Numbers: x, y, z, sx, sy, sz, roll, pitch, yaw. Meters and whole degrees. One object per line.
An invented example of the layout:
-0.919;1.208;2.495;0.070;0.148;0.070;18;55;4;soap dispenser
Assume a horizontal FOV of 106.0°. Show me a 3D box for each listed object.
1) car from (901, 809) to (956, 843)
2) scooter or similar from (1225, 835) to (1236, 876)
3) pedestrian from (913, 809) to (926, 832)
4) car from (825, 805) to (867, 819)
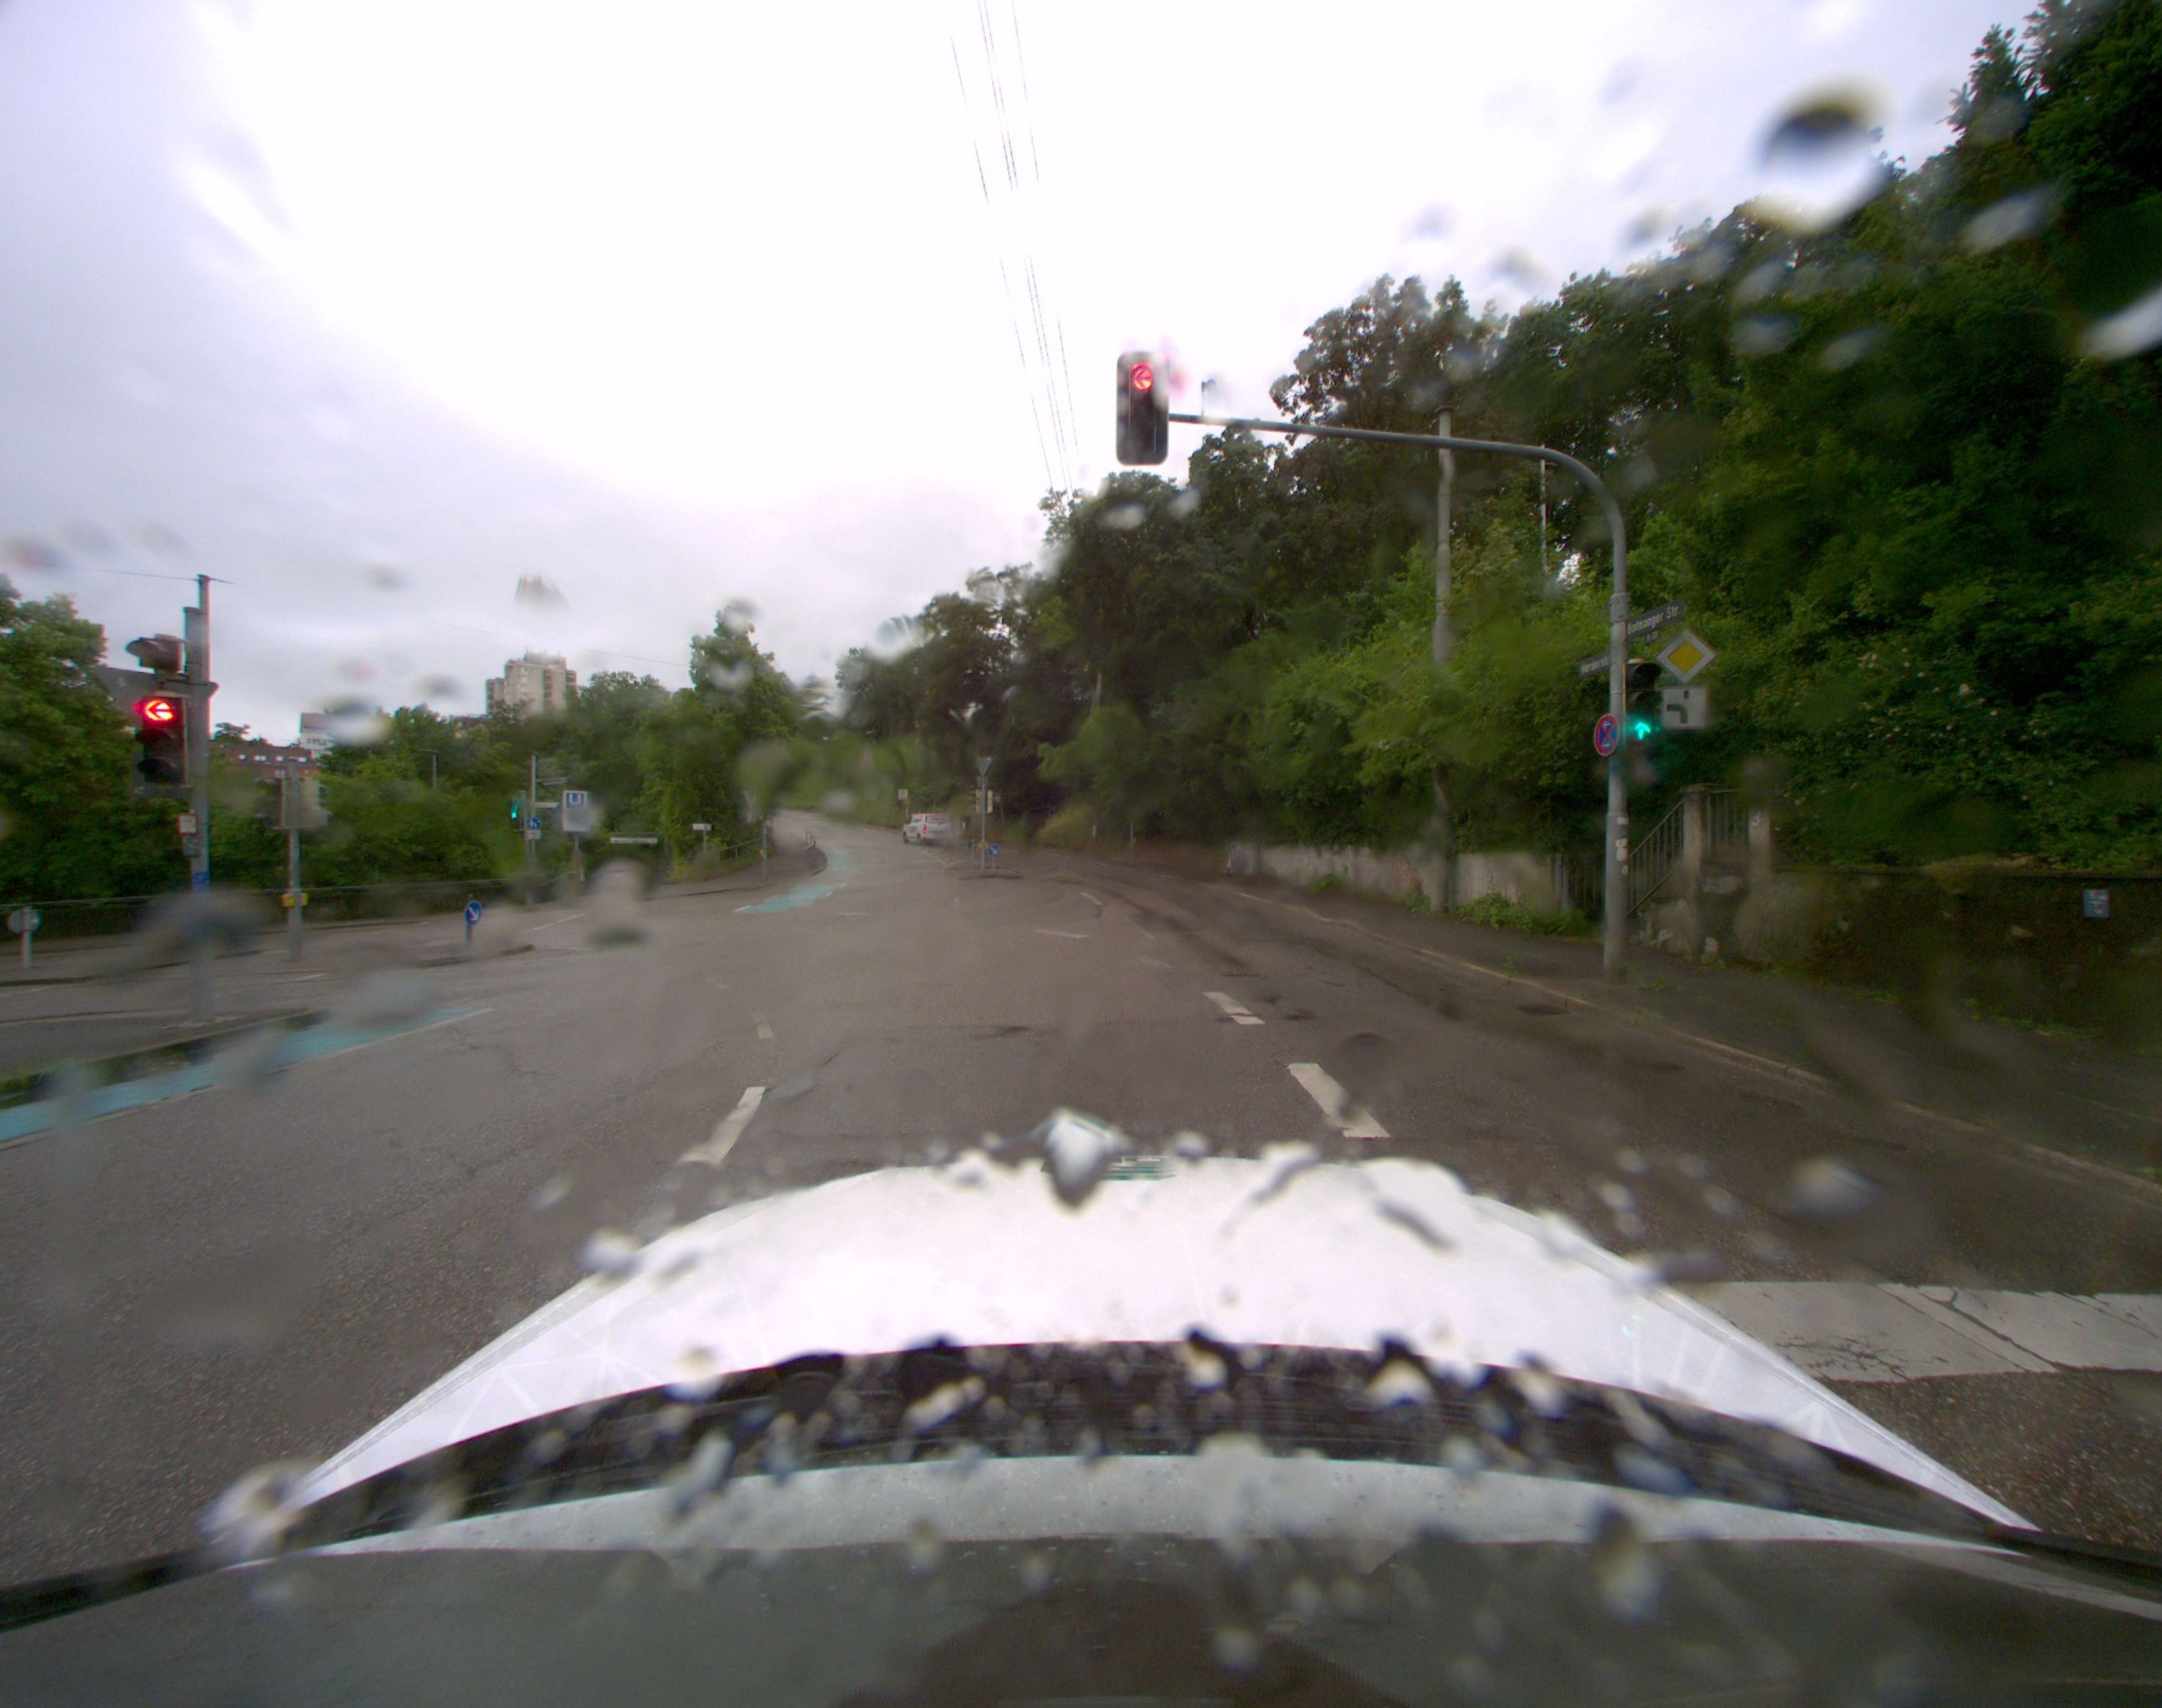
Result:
-9.710;-1.724;51.539;2.078;2.006;4.770;-1;1;-29;car
4.871;0.042;26.562;0.320;1.279;0.754;-1;3;10;scooter or similar
-12.542;-2.582;63.267;0.882;1.736;0.861;0;-1;-15;pedestrian
-27.292;-4.876;94.662;4.357;1.511;1.971;1;3;15;car
